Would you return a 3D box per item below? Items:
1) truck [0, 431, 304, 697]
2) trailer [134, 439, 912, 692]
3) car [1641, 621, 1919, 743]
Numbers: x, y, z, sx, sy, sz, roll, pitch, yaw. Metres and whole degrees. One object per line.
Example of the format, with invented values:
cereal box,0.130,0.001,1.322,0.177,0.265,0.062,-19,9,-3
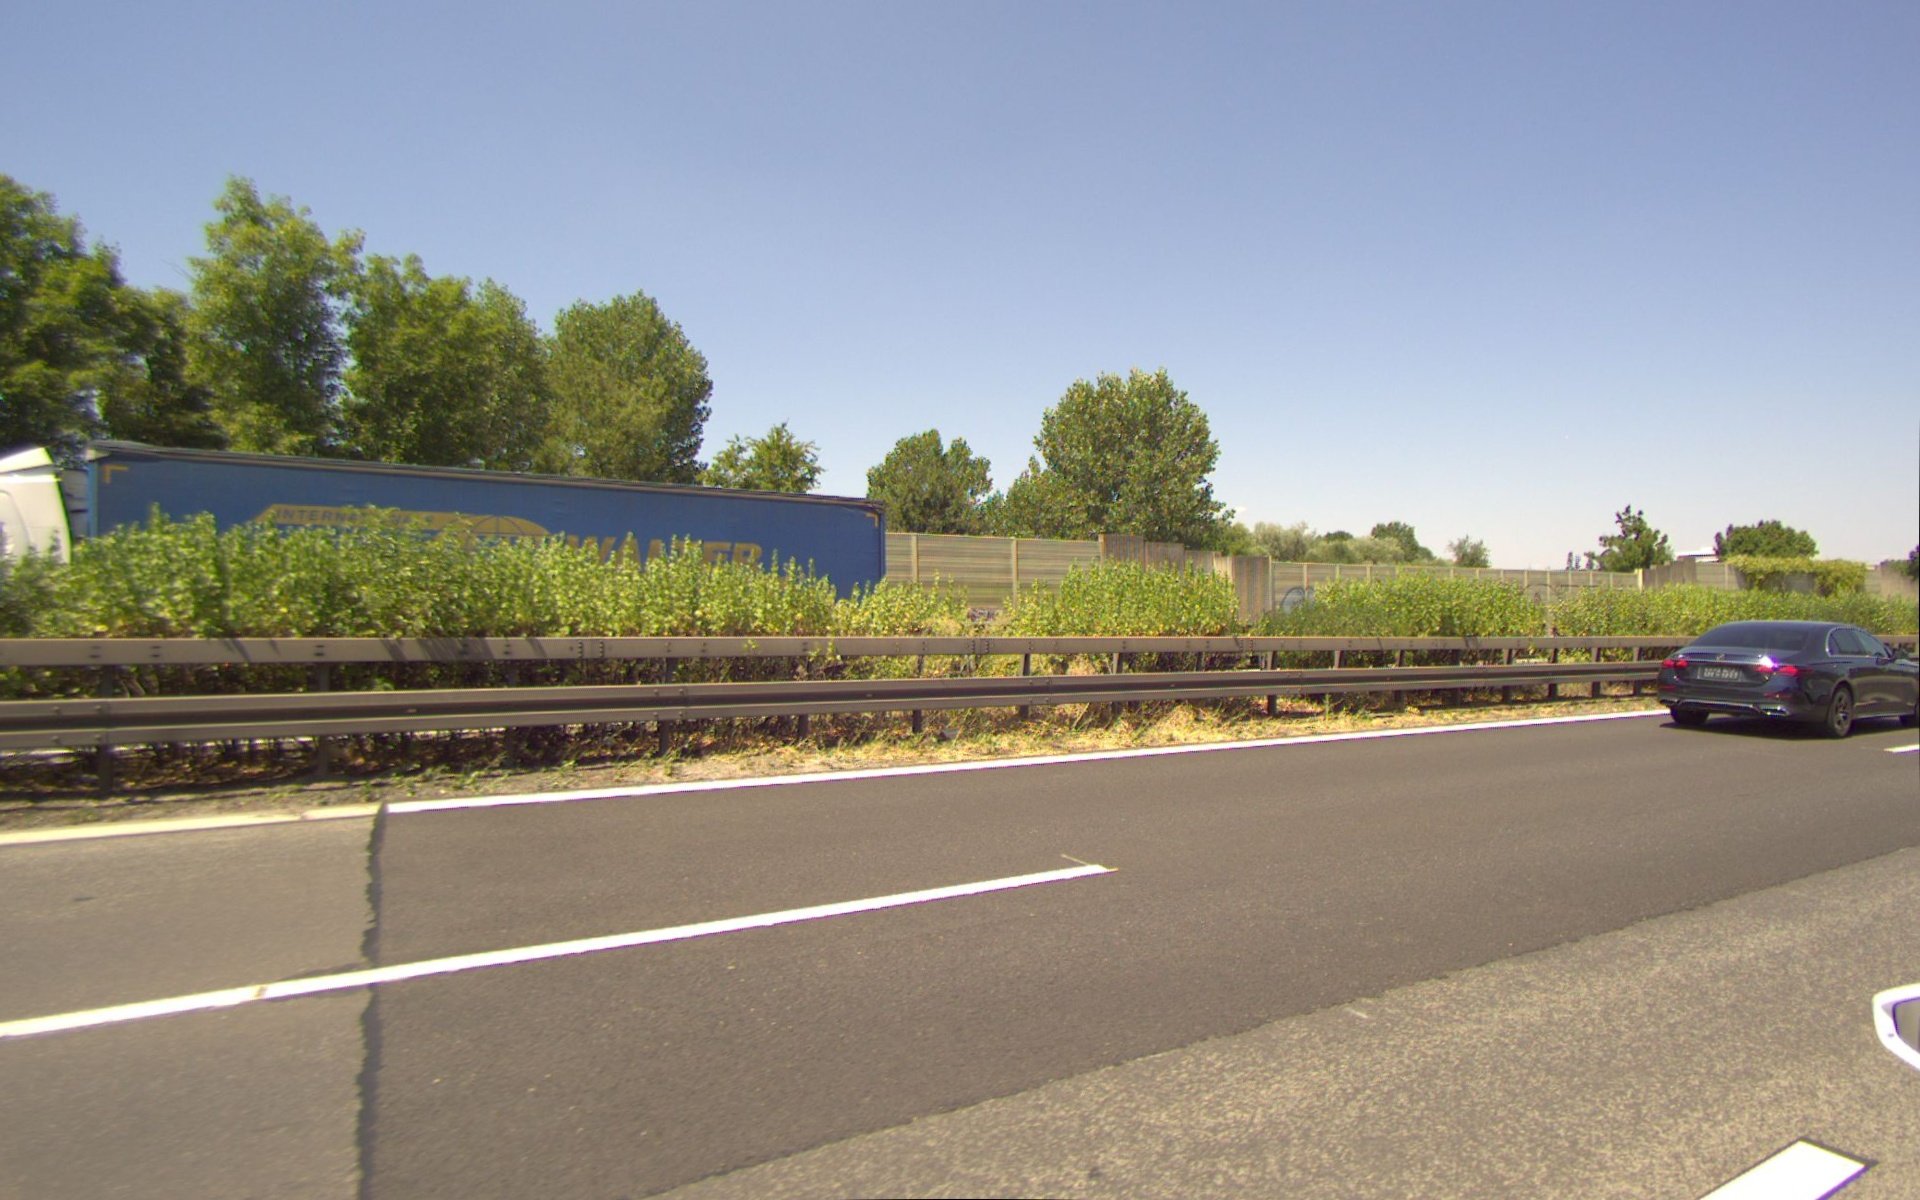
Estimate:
truck,-13.851,-0.520,16.410,5.032,3.904,2.657,1,0,-30
trailer,-7.584,-0.425,20.127,13.513,3.904,2.692,1,0,-31
car,11.791,1.043,14.093,4.980,1.427,1.748,1,0,-31
